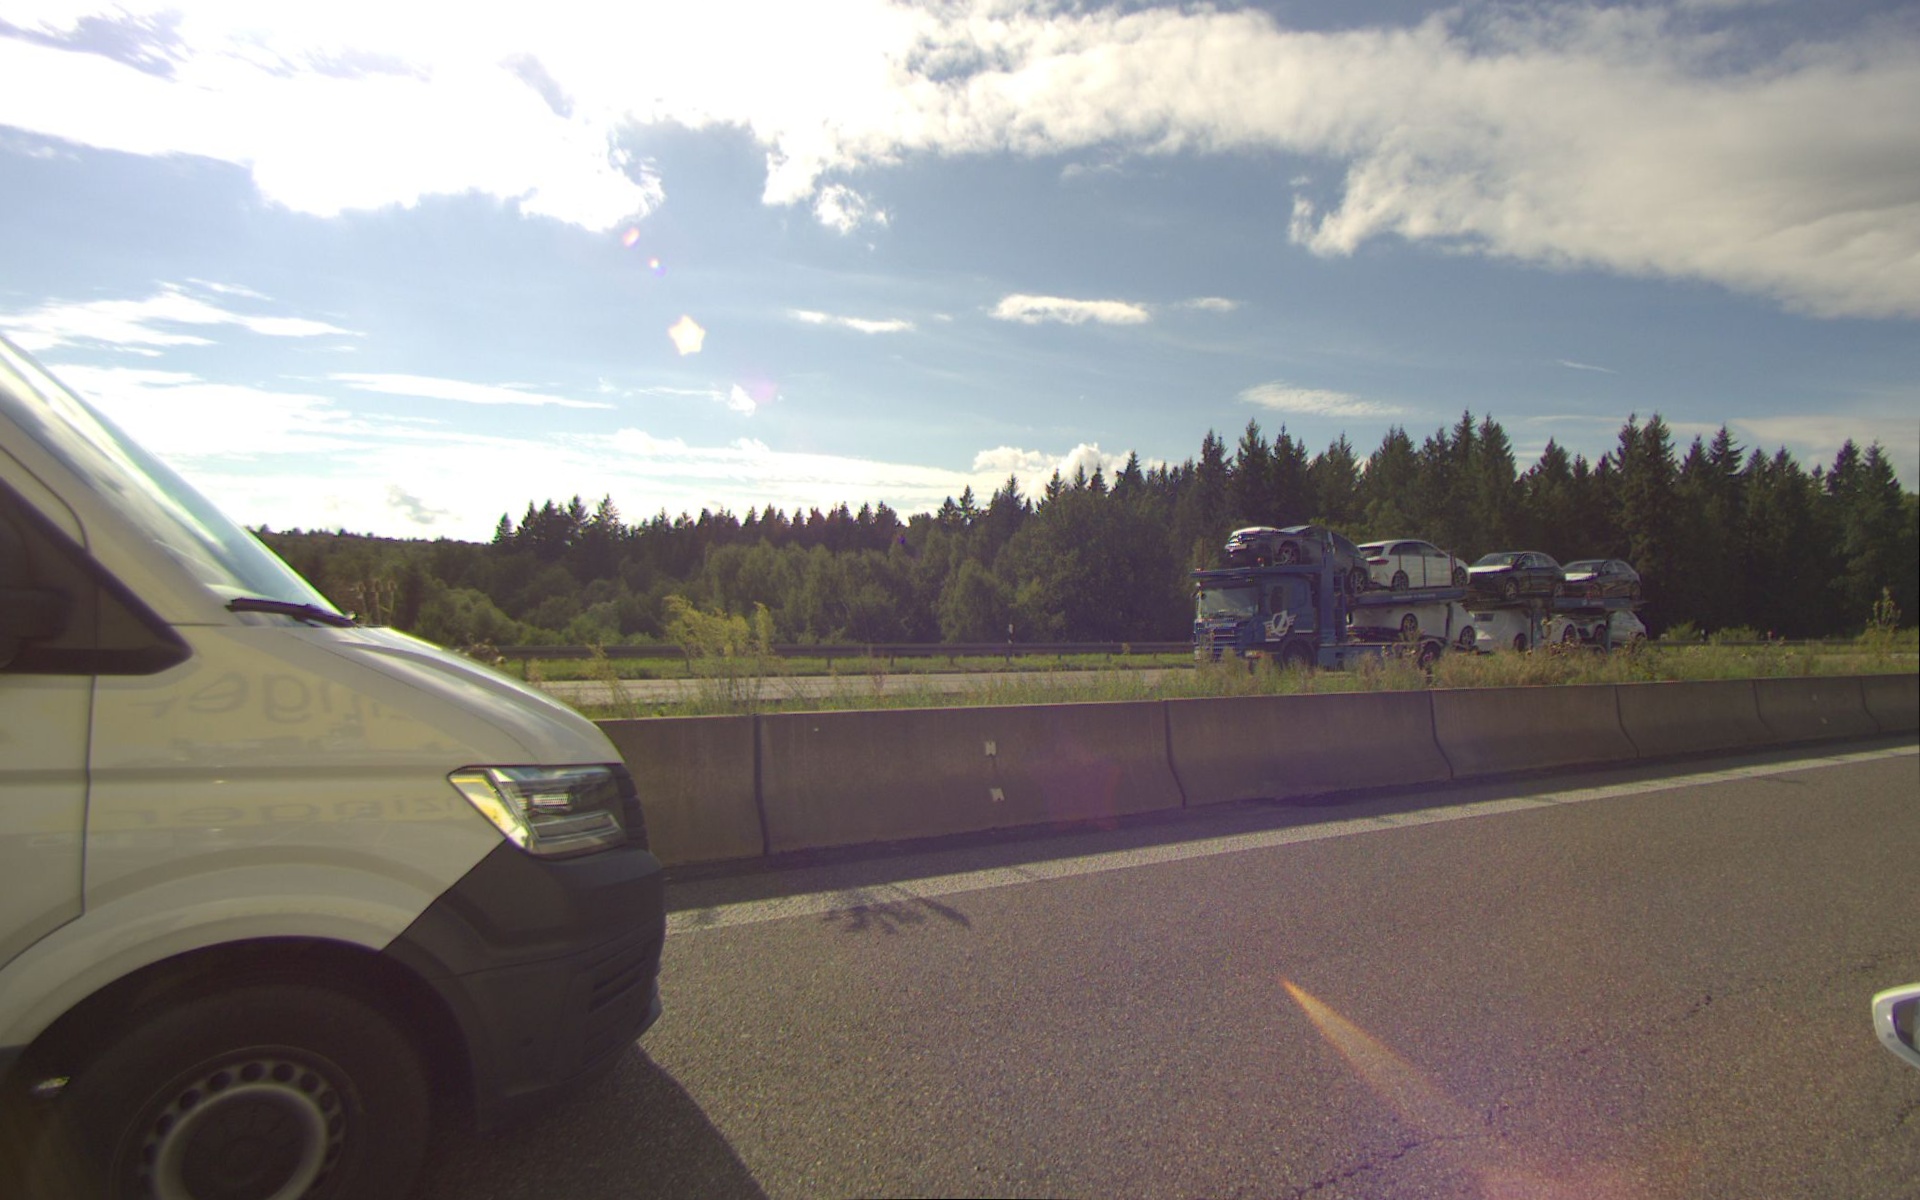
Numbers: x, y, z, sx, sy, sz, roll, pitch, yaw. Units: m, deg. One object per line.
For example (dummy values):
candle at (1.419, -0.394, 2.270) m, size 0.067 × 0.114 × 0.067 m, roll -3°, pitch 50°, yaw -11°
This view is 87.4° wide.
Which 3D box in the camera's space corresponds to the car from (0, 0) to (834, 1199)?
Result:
car at (-3.441, 0.131, 1.899) m, size 6.111 × 2.633 × 2.005 m, roll 1°, pitch -1°, yaw -31°

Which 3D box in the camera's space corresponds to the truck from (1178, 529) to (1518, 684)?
truck at (11.206, 0.297, 28.287) m, size 11.004 × 3.737 × 2.817 m, roll 2°, pitch -1°, yaw -31°

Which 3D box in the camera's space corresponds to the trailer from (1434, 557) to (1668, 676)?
trailer at (19.777, 0.617, 33.424) m, size 8.849 × 3.575 × 2.786 m, roll 2°, pitch -1°, yaw -30°
